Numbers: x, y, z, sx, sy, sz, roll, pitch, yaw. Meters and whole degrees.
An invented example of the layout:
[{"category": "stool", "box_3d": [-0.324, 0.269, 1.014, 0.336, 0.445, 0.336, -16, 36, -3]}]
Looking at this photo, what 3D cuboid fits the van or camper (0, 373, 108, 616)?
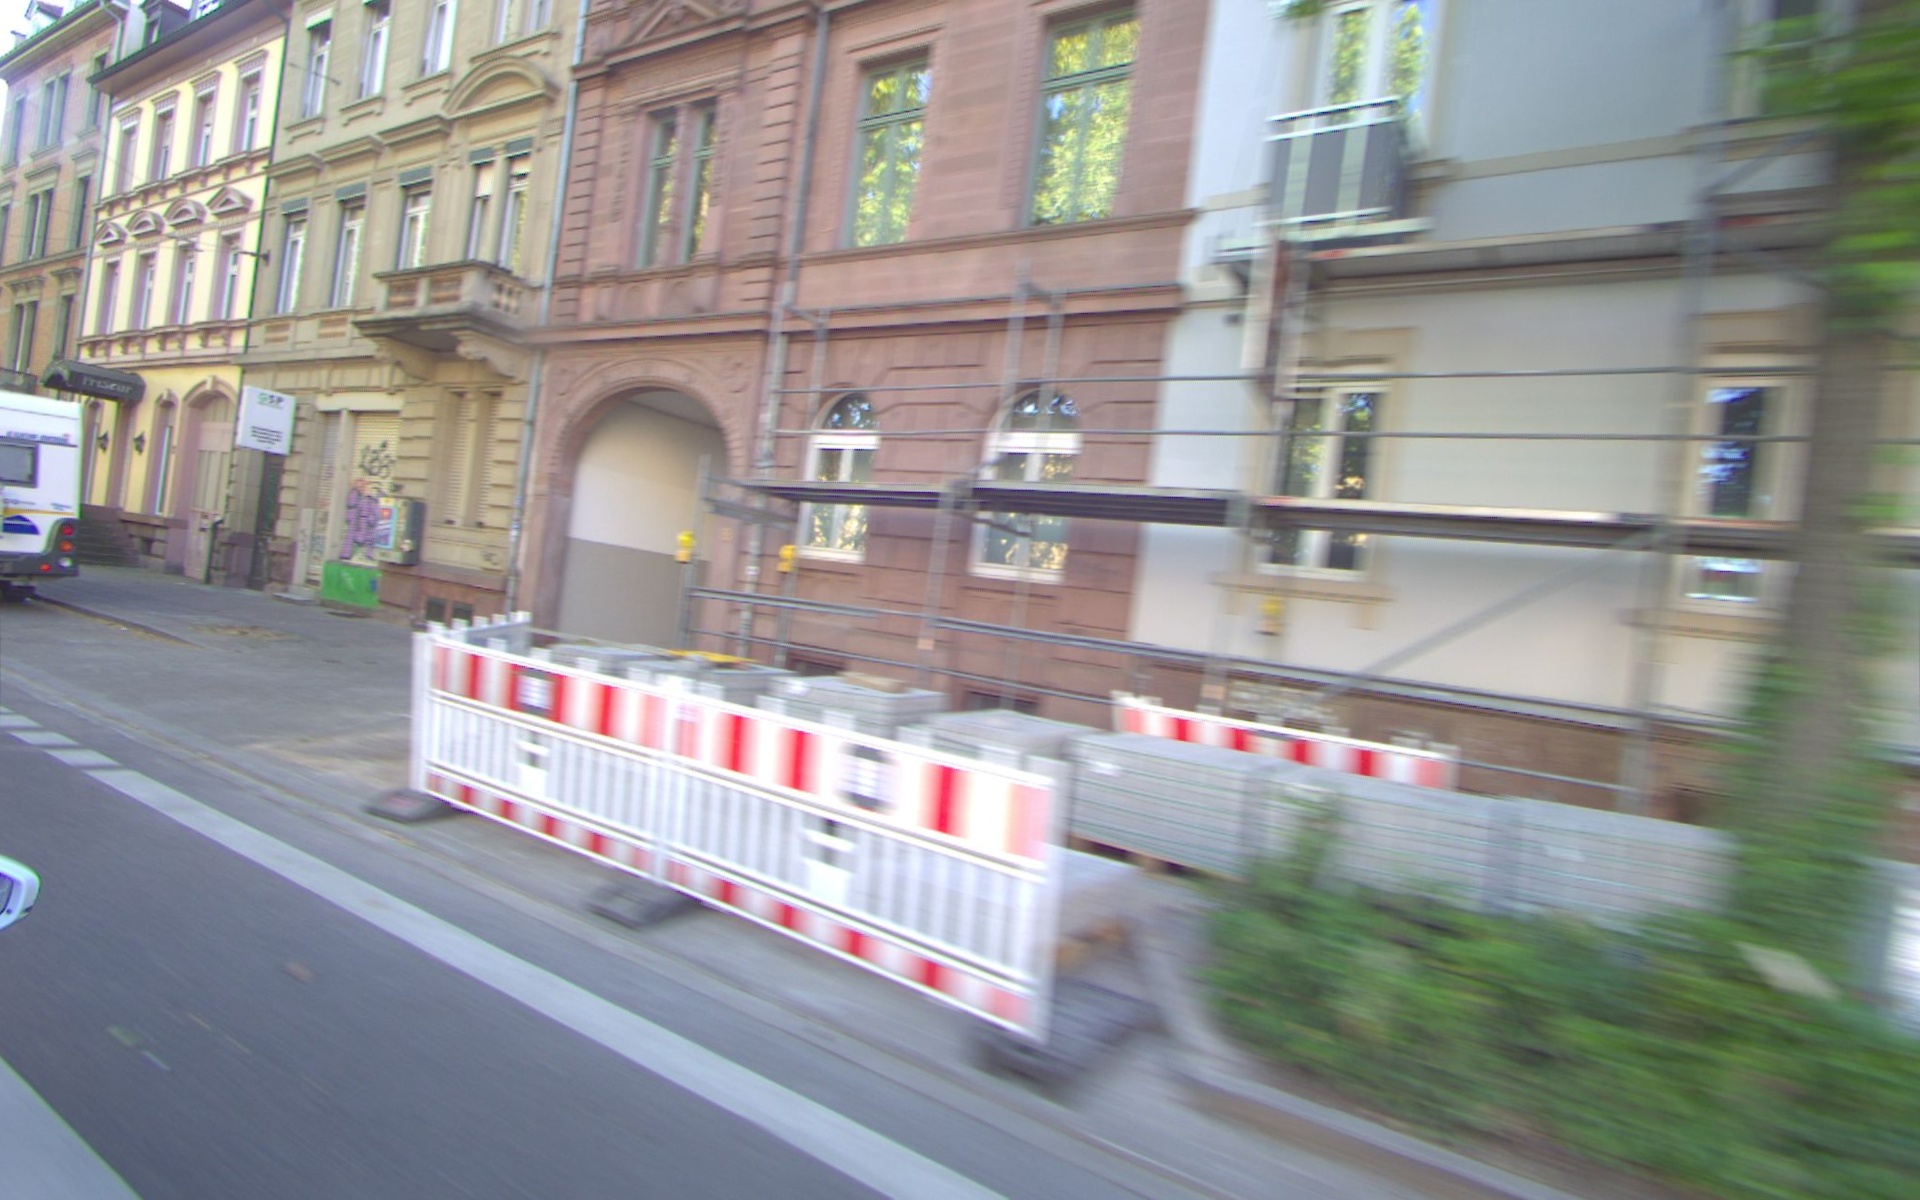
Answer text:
[{"category": "van or camper", "box_3d": [-15.326, -1.692, 14.644, 7.759, 3.011, 2.476, 7, 2, 35]}]
